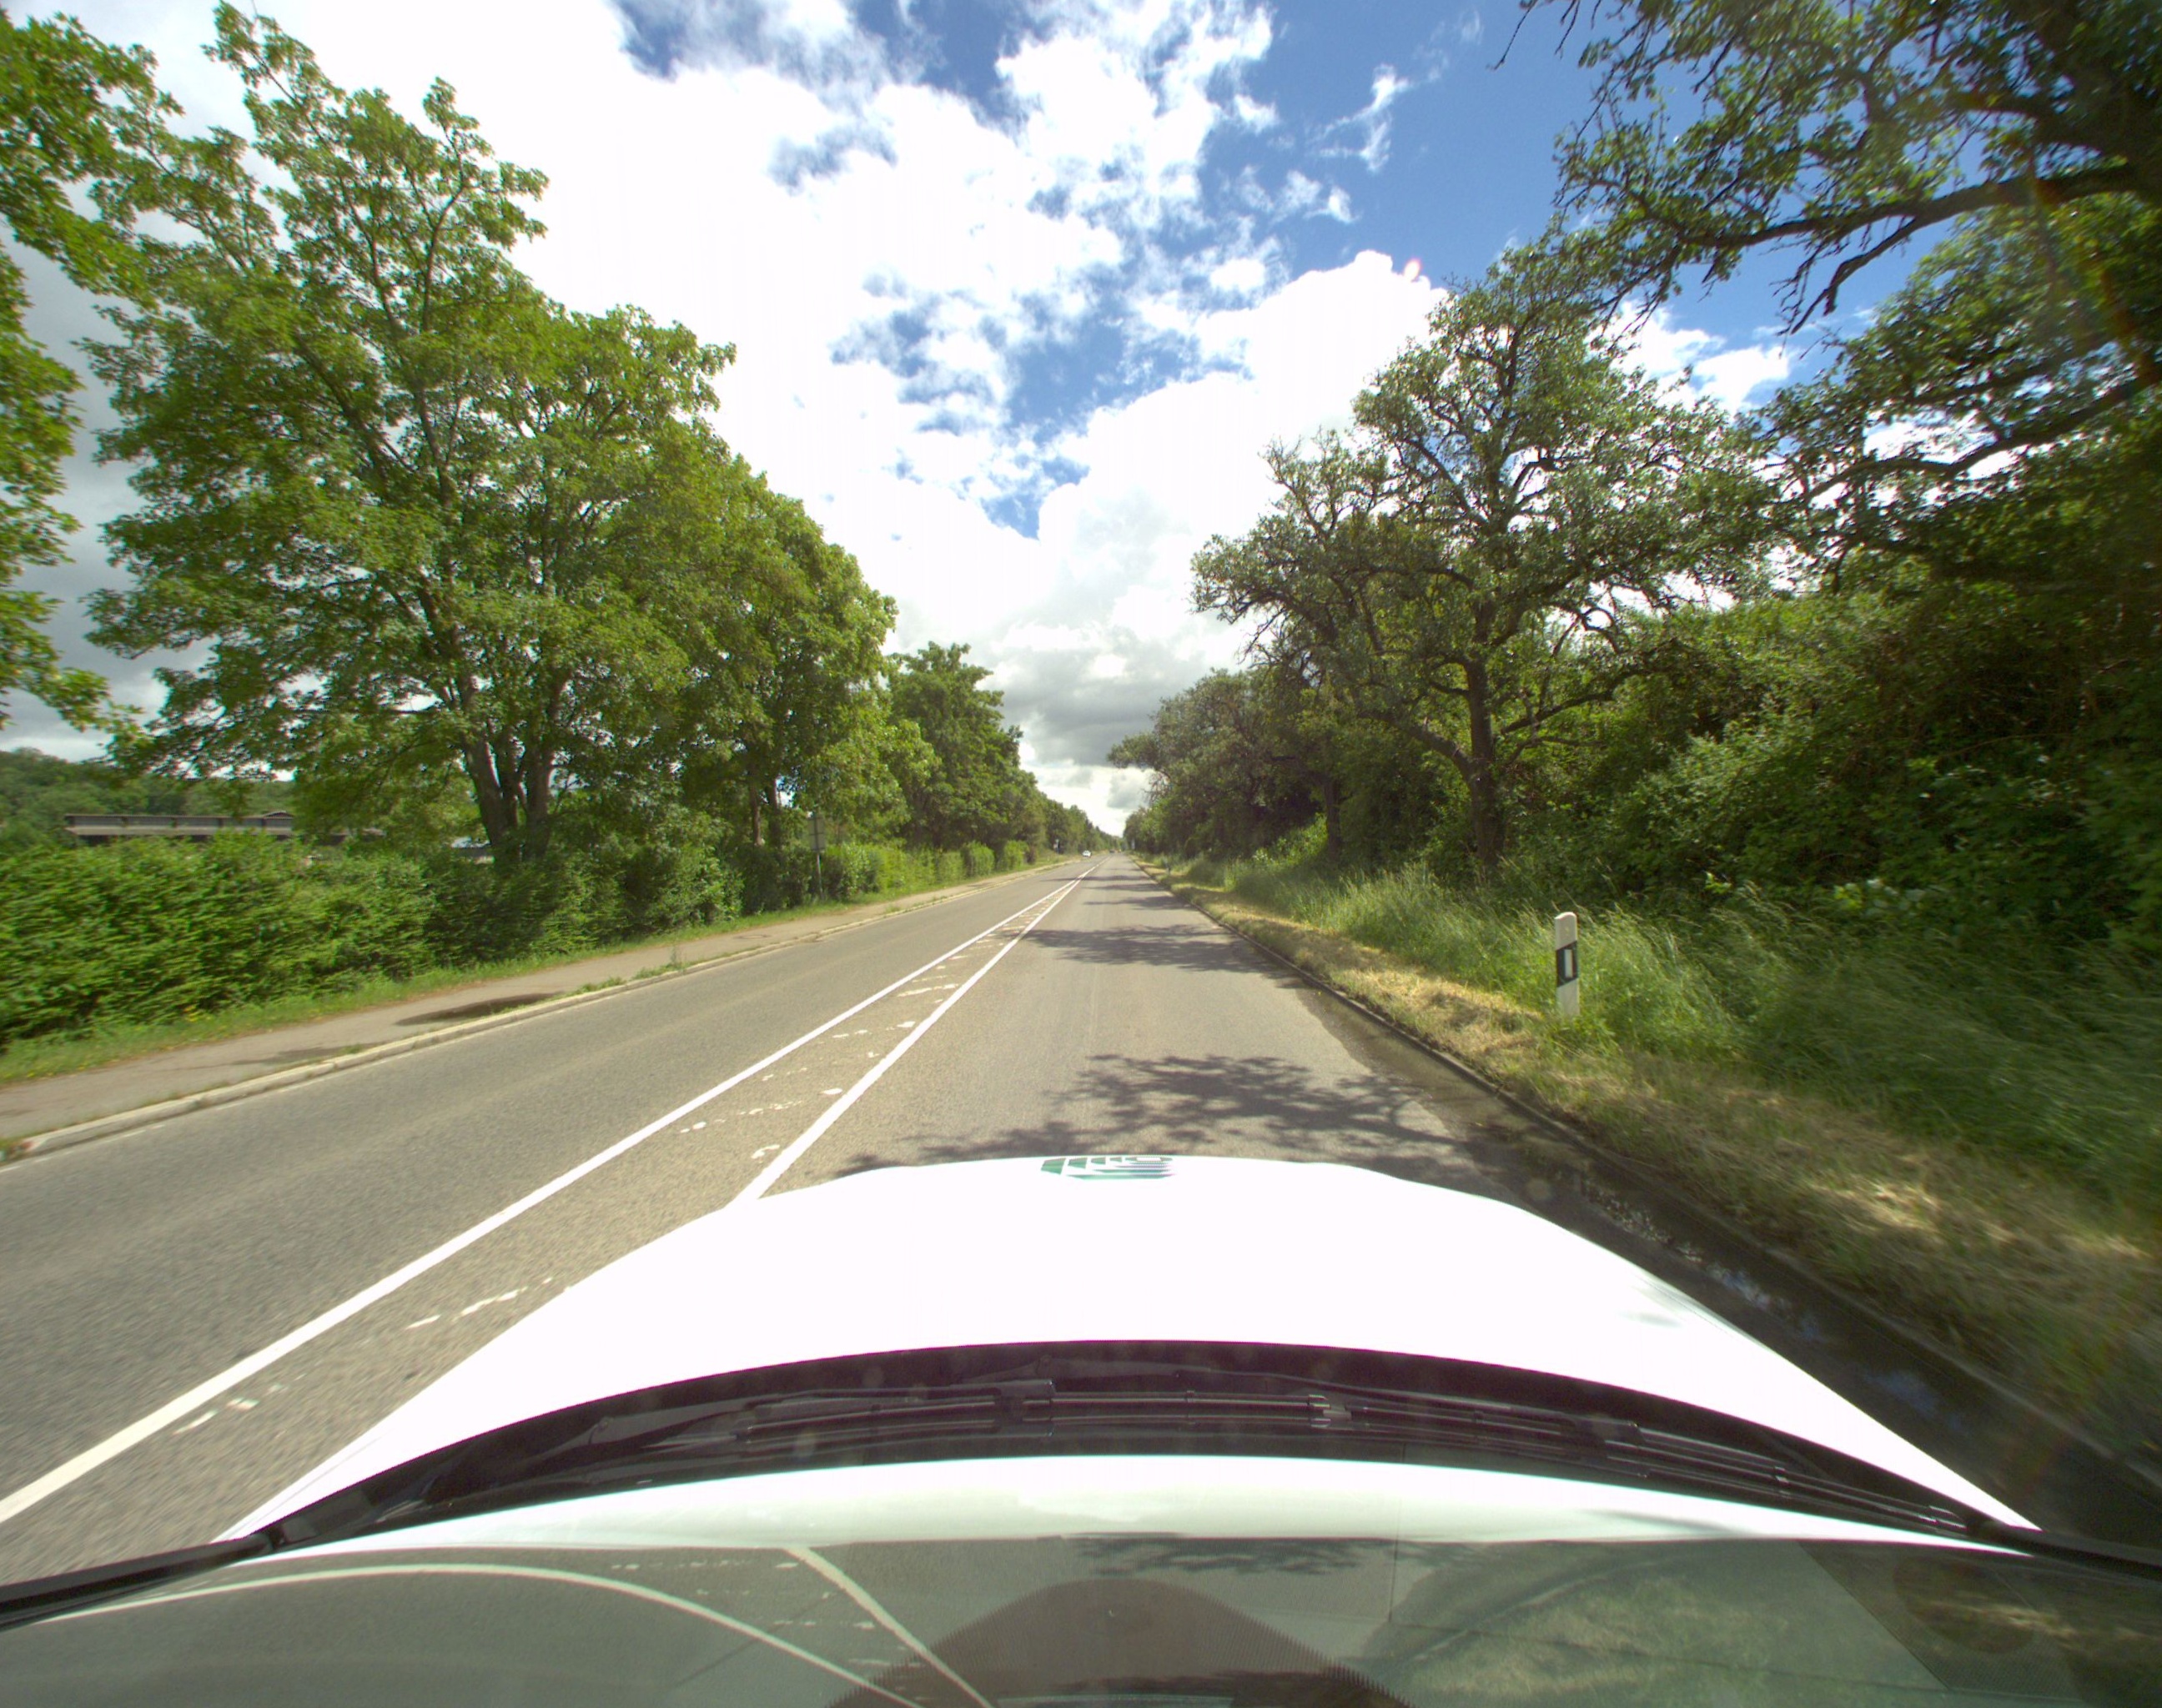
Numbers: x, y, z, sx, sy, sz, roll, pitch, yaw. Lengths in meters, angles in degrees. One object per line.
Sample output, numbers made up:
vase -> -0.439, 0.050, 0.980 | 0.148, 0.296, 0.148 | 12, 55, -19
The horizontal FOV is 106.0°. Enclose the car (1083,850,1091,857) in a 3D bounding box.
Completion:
car -> 1.513, -0.017, 201.676 | 1.791, 1.543, 3.957 | -2, -1, 3
